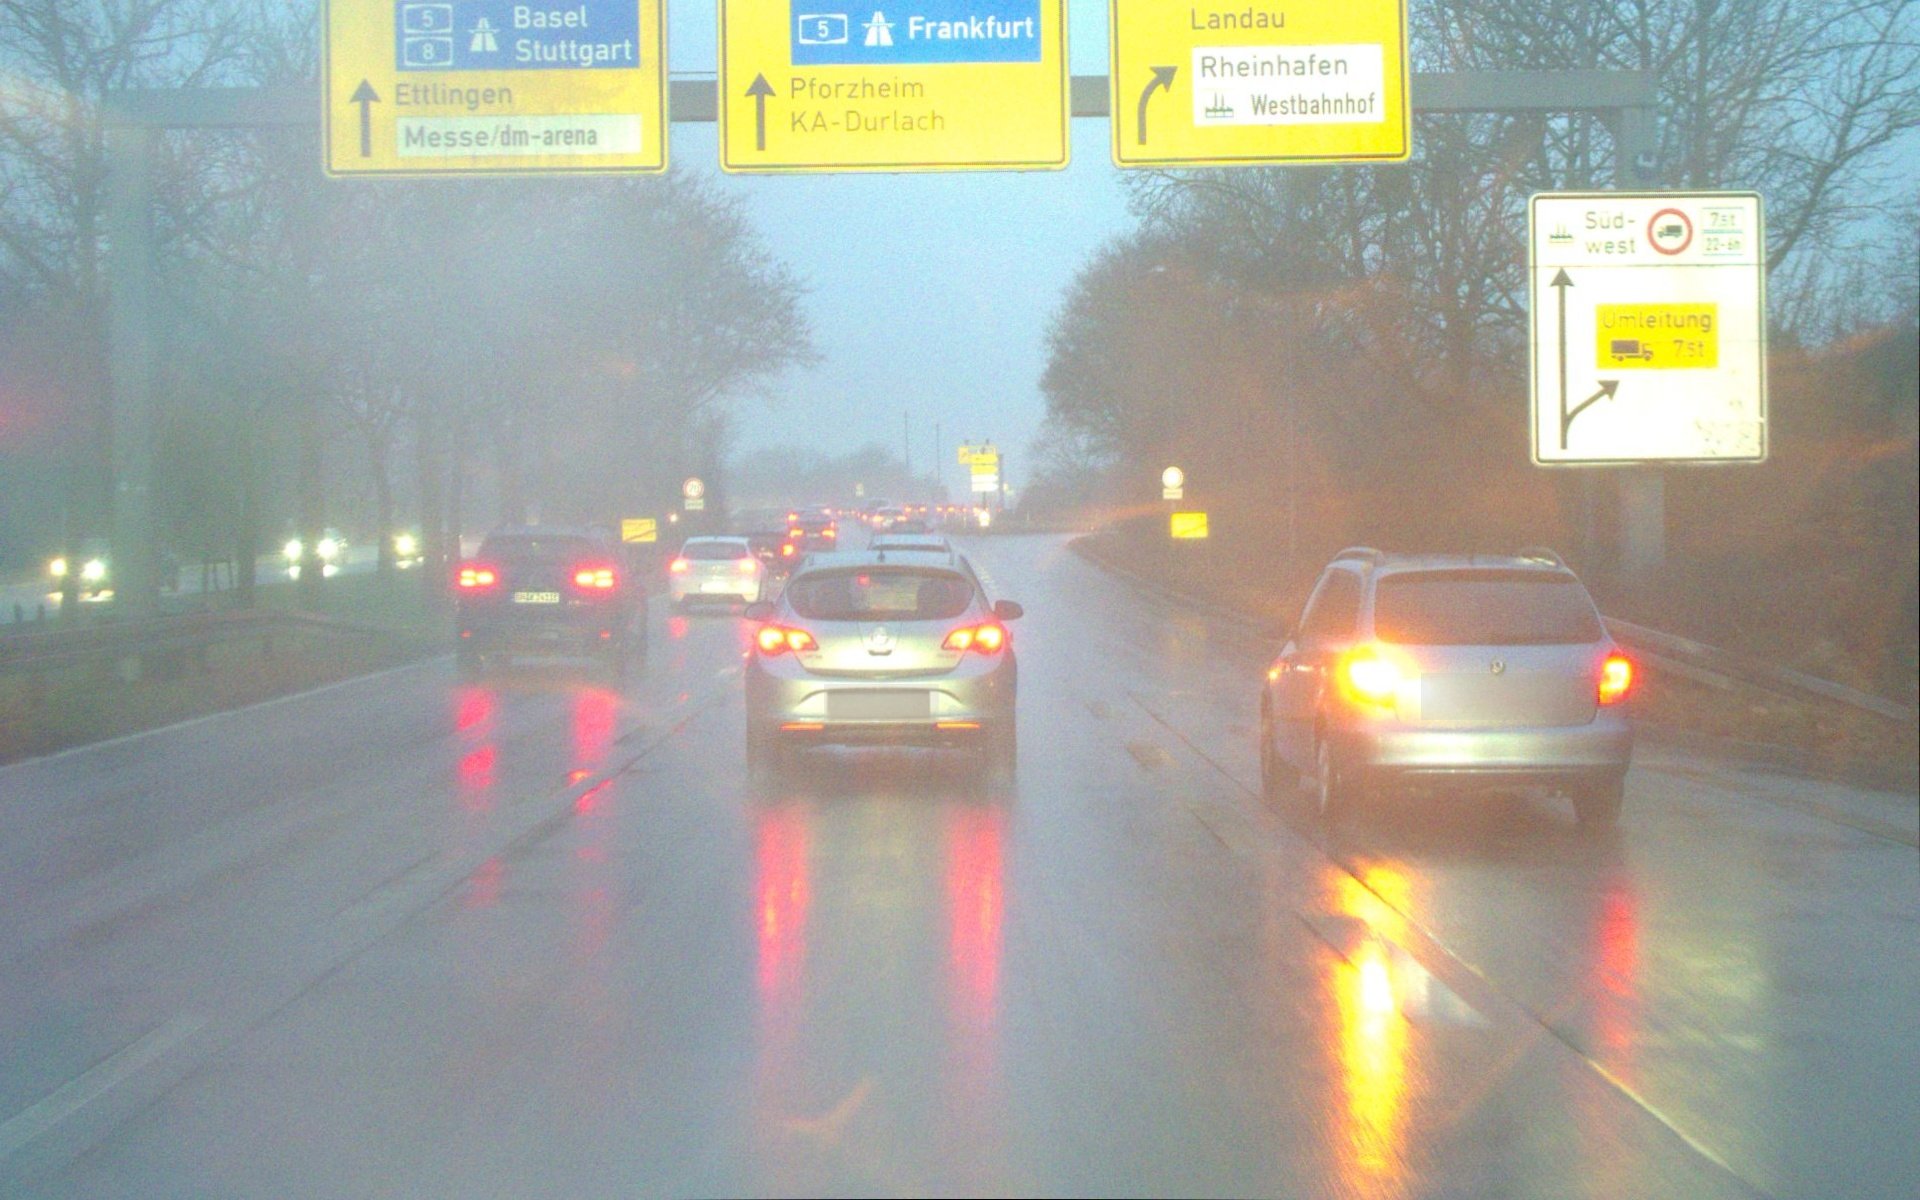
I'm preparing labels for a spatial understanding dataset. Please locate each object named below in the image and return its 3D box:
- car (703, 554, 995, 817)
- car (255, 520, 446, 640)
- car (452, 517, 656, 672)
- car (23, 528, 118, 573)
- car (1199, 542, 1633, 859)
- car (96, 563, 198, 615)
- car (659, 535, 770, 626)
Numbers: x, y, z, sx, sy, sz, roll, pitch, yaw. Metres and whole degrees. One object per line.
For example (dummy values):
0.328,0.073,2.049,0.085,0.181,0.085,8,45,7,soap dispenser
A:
-0.710,0.531,23.949,1.822,1.642,4.466,1,0,0,car
-8.437,-0.292,47.895,1.993,1.592,4.000,0,1,-1,car
-4.522,-0.085,38.757,1.822,1.642,4.000,-1,1,0,car
-26.270,-1.476,101.660,1.751,1.303,4.316,0,1,-1,car
2.554,0.519,20.304,1.933,1.642,4.466,1,0,0,car
-21.582,-0.306,91.433,1.751,1.303,4.316,0,1,-1,car
-4.625,-0.385,65.309,1.822,1.642,4.000,-1,1,0,car
